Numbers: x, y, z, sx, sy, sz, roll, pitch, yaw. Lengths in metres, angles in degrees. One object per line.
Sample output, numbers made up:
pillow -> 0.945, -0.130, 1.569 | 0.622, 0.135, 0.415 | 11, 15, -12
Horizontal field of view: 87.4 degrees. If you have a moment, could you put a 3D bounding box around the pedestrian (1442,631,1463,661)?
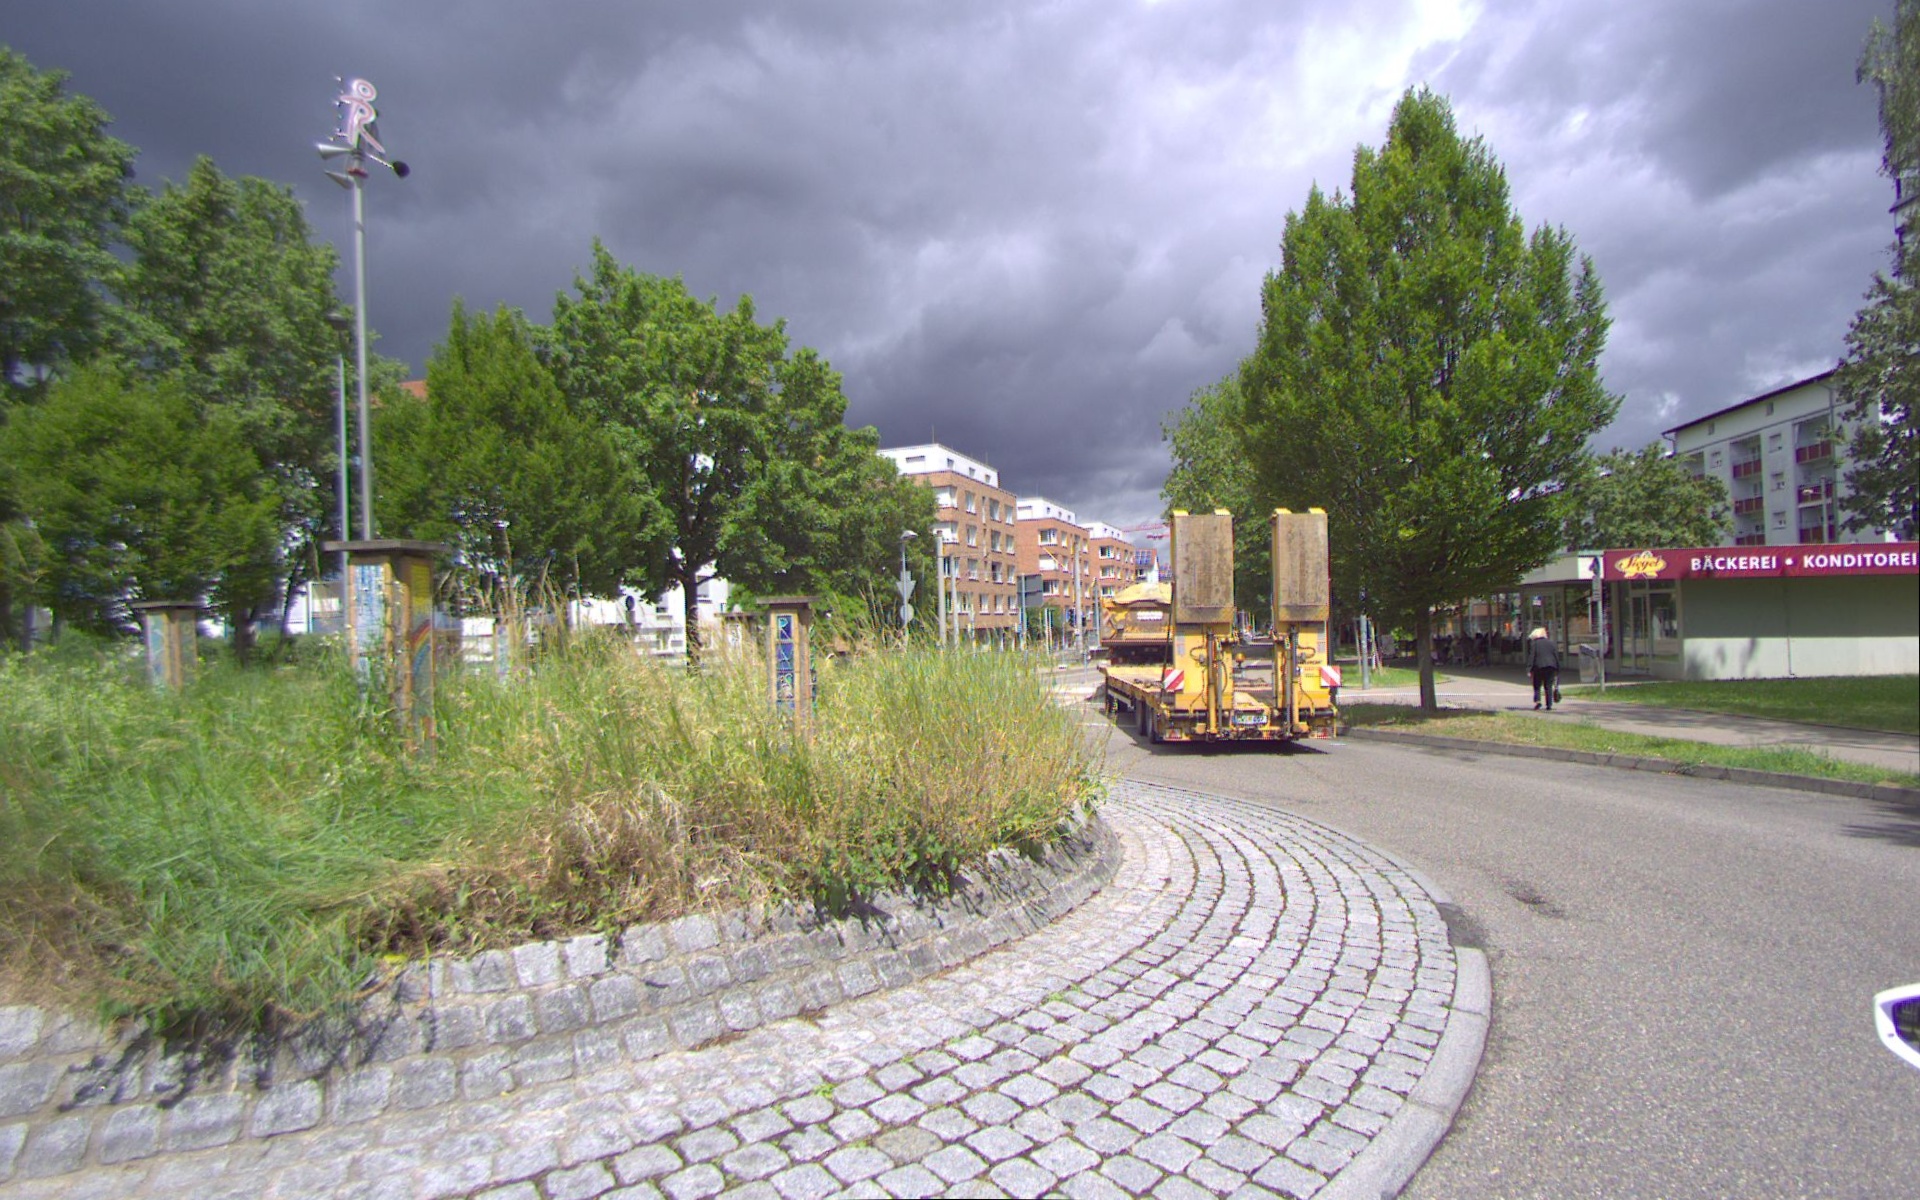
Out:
pedestrian -> 20.685, 1.945, 42.188 | 0.706, 1.217, 0.698 | -3, -3, 22

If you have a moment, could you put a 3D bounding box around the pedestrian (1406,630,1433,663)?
pedestrian -> 19.190, 1.948, 41.966 | 0.863, 1.342, 0.611 | -3, -2, 17

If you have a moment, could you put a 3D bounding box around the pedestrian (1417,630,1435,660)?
pedestrian -> 23.508, 2.277, 50.677 | 0.685, 1.508, 0.558 | -3, -2, 13

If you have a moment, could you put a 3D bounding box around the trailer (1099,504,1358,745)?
trailer -> 4.574, 0.463, 19.737 | 2.815, 3.417, 10.846 | 0, -1, 4

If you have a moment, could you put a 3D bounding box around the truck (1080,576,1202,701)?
truck -> 5.456, 1.031, 29.370 | 2.937, 3.075, 8.490 | -2, -1, 13

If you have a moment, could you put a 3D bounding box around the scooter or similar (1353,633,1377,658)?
scooter or similar -> 22.163, 2.474, 54.942 | 1.718, 1.242, 0.513 | -2, -1, -42

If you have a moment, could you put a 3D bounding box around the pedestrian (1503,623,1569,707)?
pedestrian -> 11.091, 1.238, 19.366 | 0.857, 1.539, 0.804 | -3, 0, 16

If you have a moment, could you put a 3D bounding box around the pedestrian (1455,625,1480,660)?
pedestrian -> 20.620, 1.721, 40.848 | 0.706, 1.398, 0.699 | -3, -2, 16

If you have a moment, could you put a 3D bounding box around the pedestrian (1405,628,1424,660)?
pedestrian -> 23.228, 2.235, 51.330 | 0.685, 1.593, 0.558 | -3, -2, 13

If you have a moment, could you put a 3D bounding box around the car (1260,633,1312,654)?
car -> 26.773, 3.549, 82.492 | 3.922, 1.532, 1.999 | -2, 1, 21

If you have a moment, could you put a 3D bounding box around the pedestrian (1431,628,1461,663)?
pedestrian -> 19.786, 1.859, 40.924 | 0.862, 1.342, 0.823 | -3, 0, 9

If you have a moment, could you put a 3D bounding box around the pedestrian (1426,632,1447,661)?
pedestrian -> 20.167, 1.971, 42.508 | 0.706, 1.217, 0.698 | -3, -3, 22
